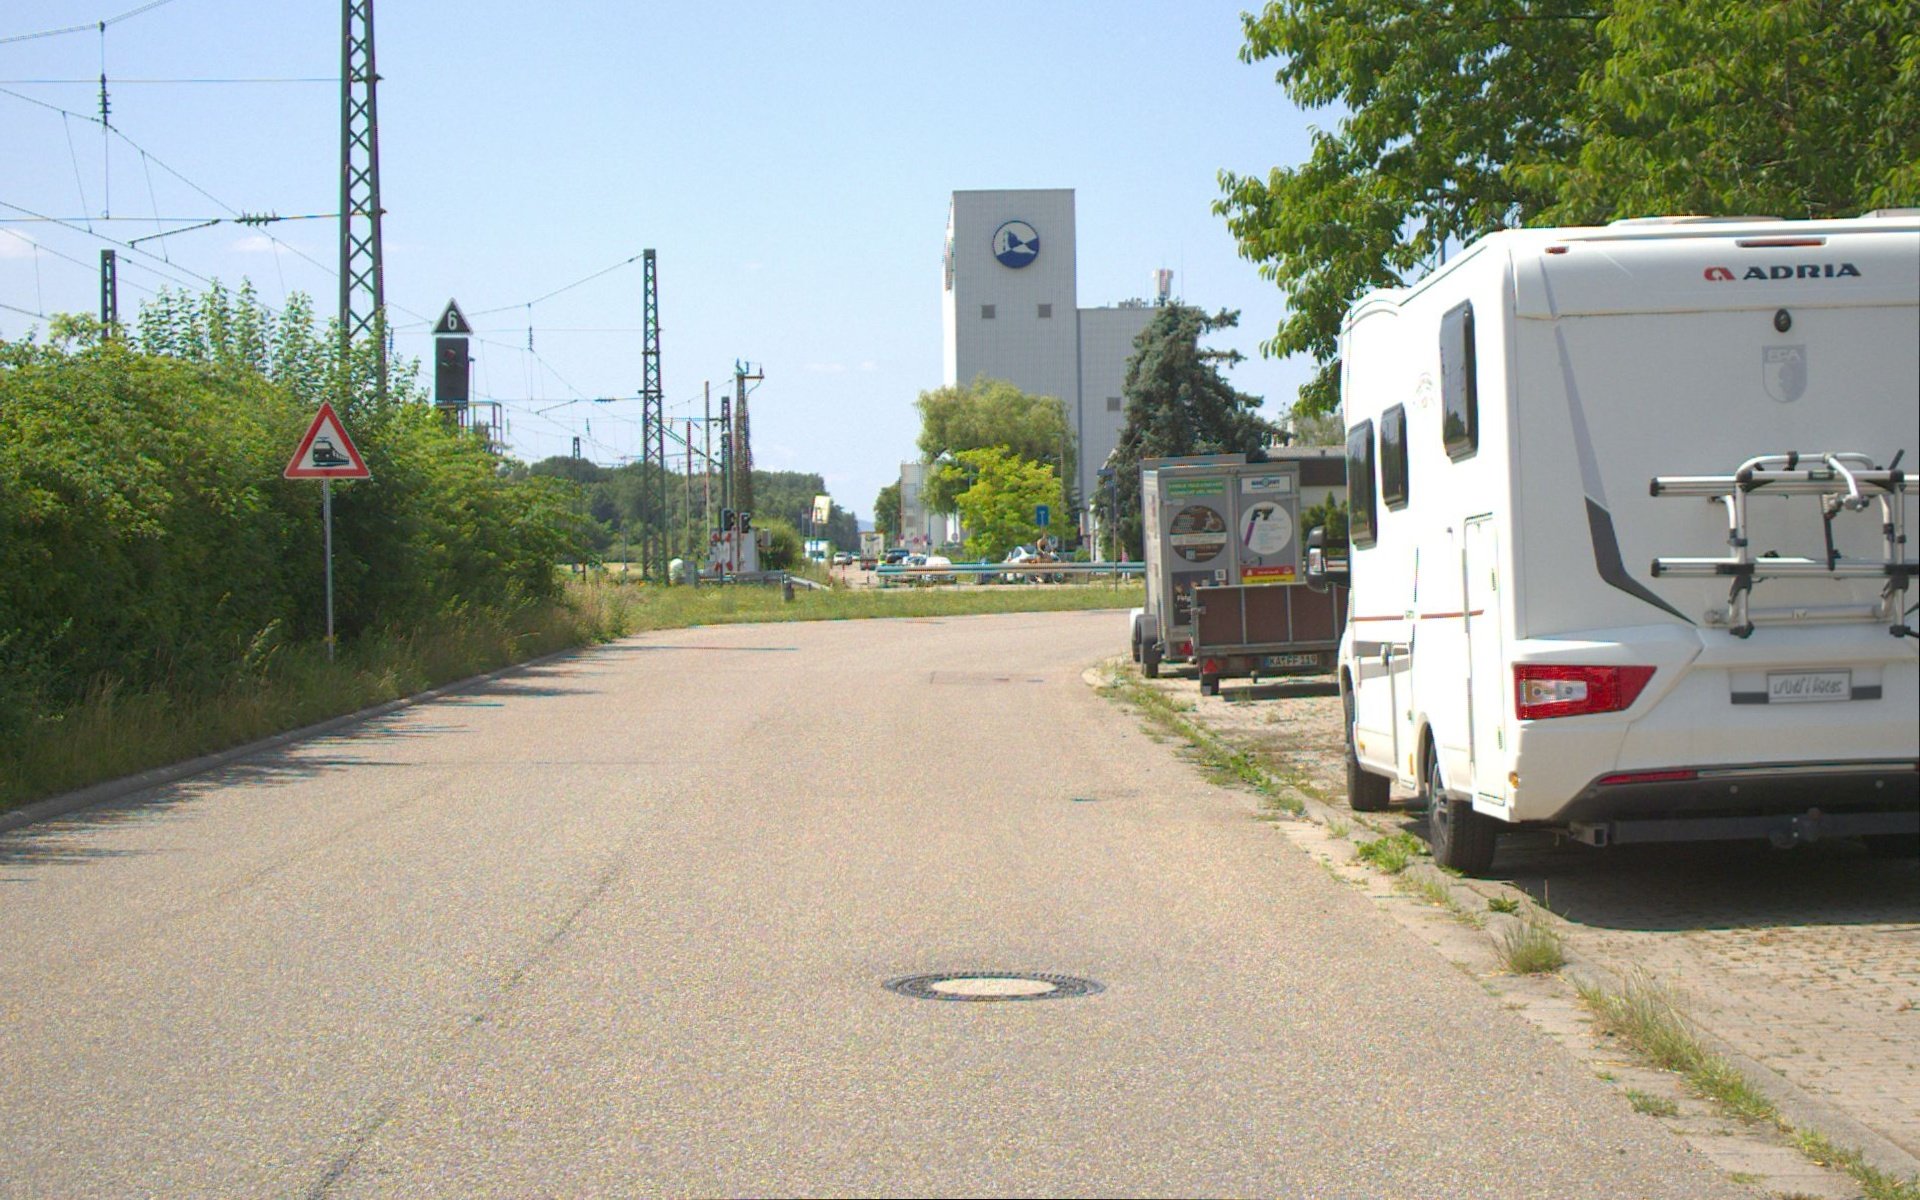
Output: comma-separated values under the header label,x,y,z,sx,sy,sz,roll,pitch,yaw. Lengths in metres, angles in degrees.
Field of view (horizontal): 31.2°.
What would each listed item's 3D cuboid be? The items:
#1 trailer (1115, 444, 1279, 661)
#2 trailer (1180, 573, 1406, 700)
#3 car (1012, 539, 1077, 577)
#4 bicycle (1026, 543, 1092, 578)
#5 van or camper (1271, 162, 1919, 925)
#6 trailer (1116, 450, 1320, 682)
label,x,y,z,sx,sy,sz,roll,pitch,yaw
trailer,3.224,-0.654,46.108,1.933,2.635,5.183,-3,1,5
trailer,3.362,0.335,35.514,2.005,1.119,4.488,-3,0,2
car,3.404,-1.717,139.069,1.993,1.504,4.455,-1,1,-6
bicycle,3.346,-1.346,116.024,2.143,1.161,0.660,0,1,30
van or camper,3.183,-0.287,16.781,2.439,2.817,7.624,-2,1,-1
trailer,3.005,-0.418,40.966,1.919,2.500,4.741,-3,1,0
